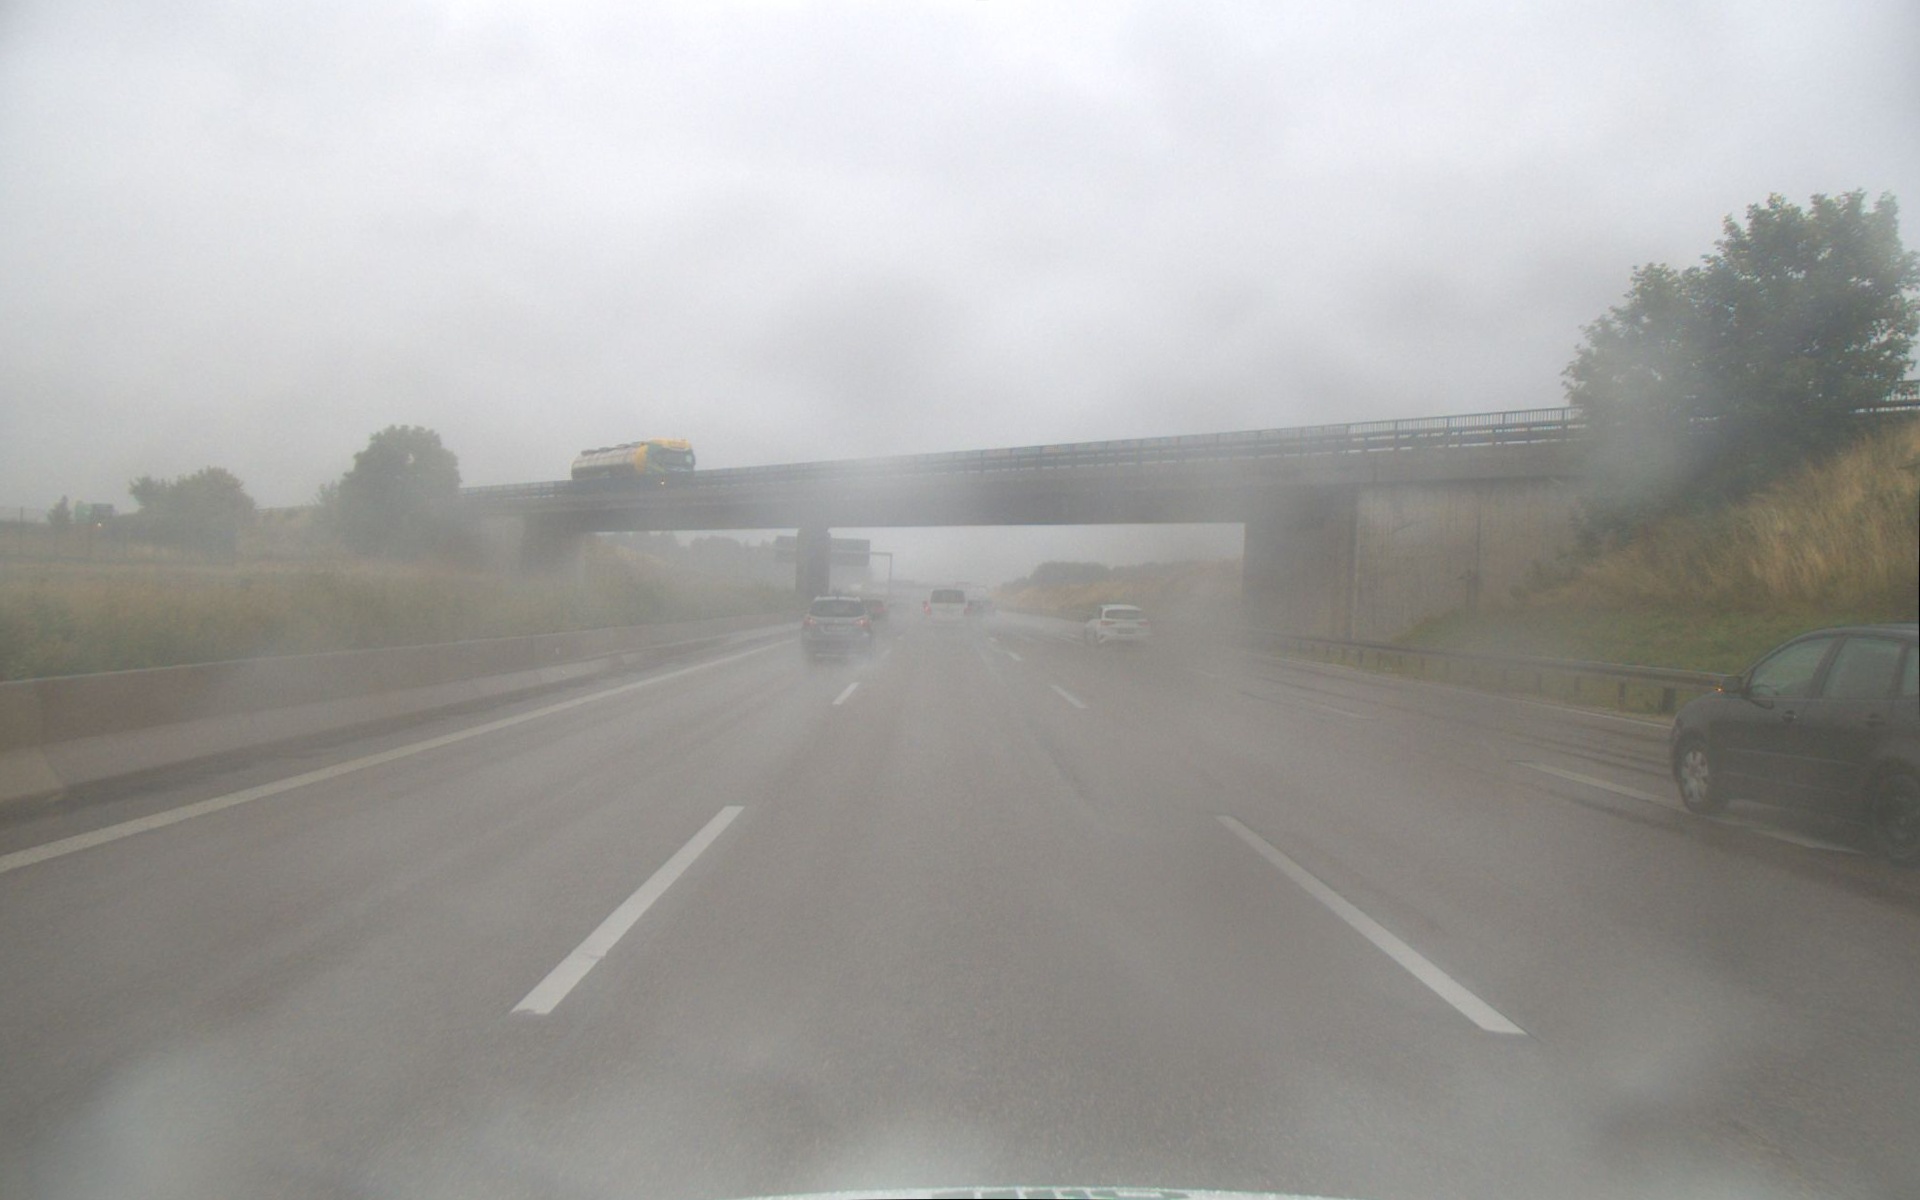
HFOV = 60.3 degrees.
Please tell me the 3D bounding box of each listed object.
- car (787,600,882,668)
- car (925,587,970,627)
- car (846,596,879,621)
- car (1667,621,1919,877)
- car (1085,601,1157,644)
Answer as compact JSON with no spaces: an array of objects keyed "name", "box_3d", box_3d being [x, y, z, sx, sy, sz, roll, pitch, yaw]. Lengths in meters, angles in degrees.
[{"name":"car","box_3d":[-3.021,0.791,40.638,1.808,1.540,4.757,1,0,2]},{"name":"car","box_3d":[-0.547,0.314,71.753,1.859,1.613,3.999,1,-1,-1]},{"name":"car","box_3d":[-5.531,0.505,94.413,1.654,1.378,3.999,1,-1,-1]},{"name":"car","box_3d":[6.372,0.903,10.886,1.697,1.446,3.655,1,0,-4]},{"name":"car","box_3d":[5.105,0.718,52.866,1.952,1.288,4.000,1,-1,1]}]
